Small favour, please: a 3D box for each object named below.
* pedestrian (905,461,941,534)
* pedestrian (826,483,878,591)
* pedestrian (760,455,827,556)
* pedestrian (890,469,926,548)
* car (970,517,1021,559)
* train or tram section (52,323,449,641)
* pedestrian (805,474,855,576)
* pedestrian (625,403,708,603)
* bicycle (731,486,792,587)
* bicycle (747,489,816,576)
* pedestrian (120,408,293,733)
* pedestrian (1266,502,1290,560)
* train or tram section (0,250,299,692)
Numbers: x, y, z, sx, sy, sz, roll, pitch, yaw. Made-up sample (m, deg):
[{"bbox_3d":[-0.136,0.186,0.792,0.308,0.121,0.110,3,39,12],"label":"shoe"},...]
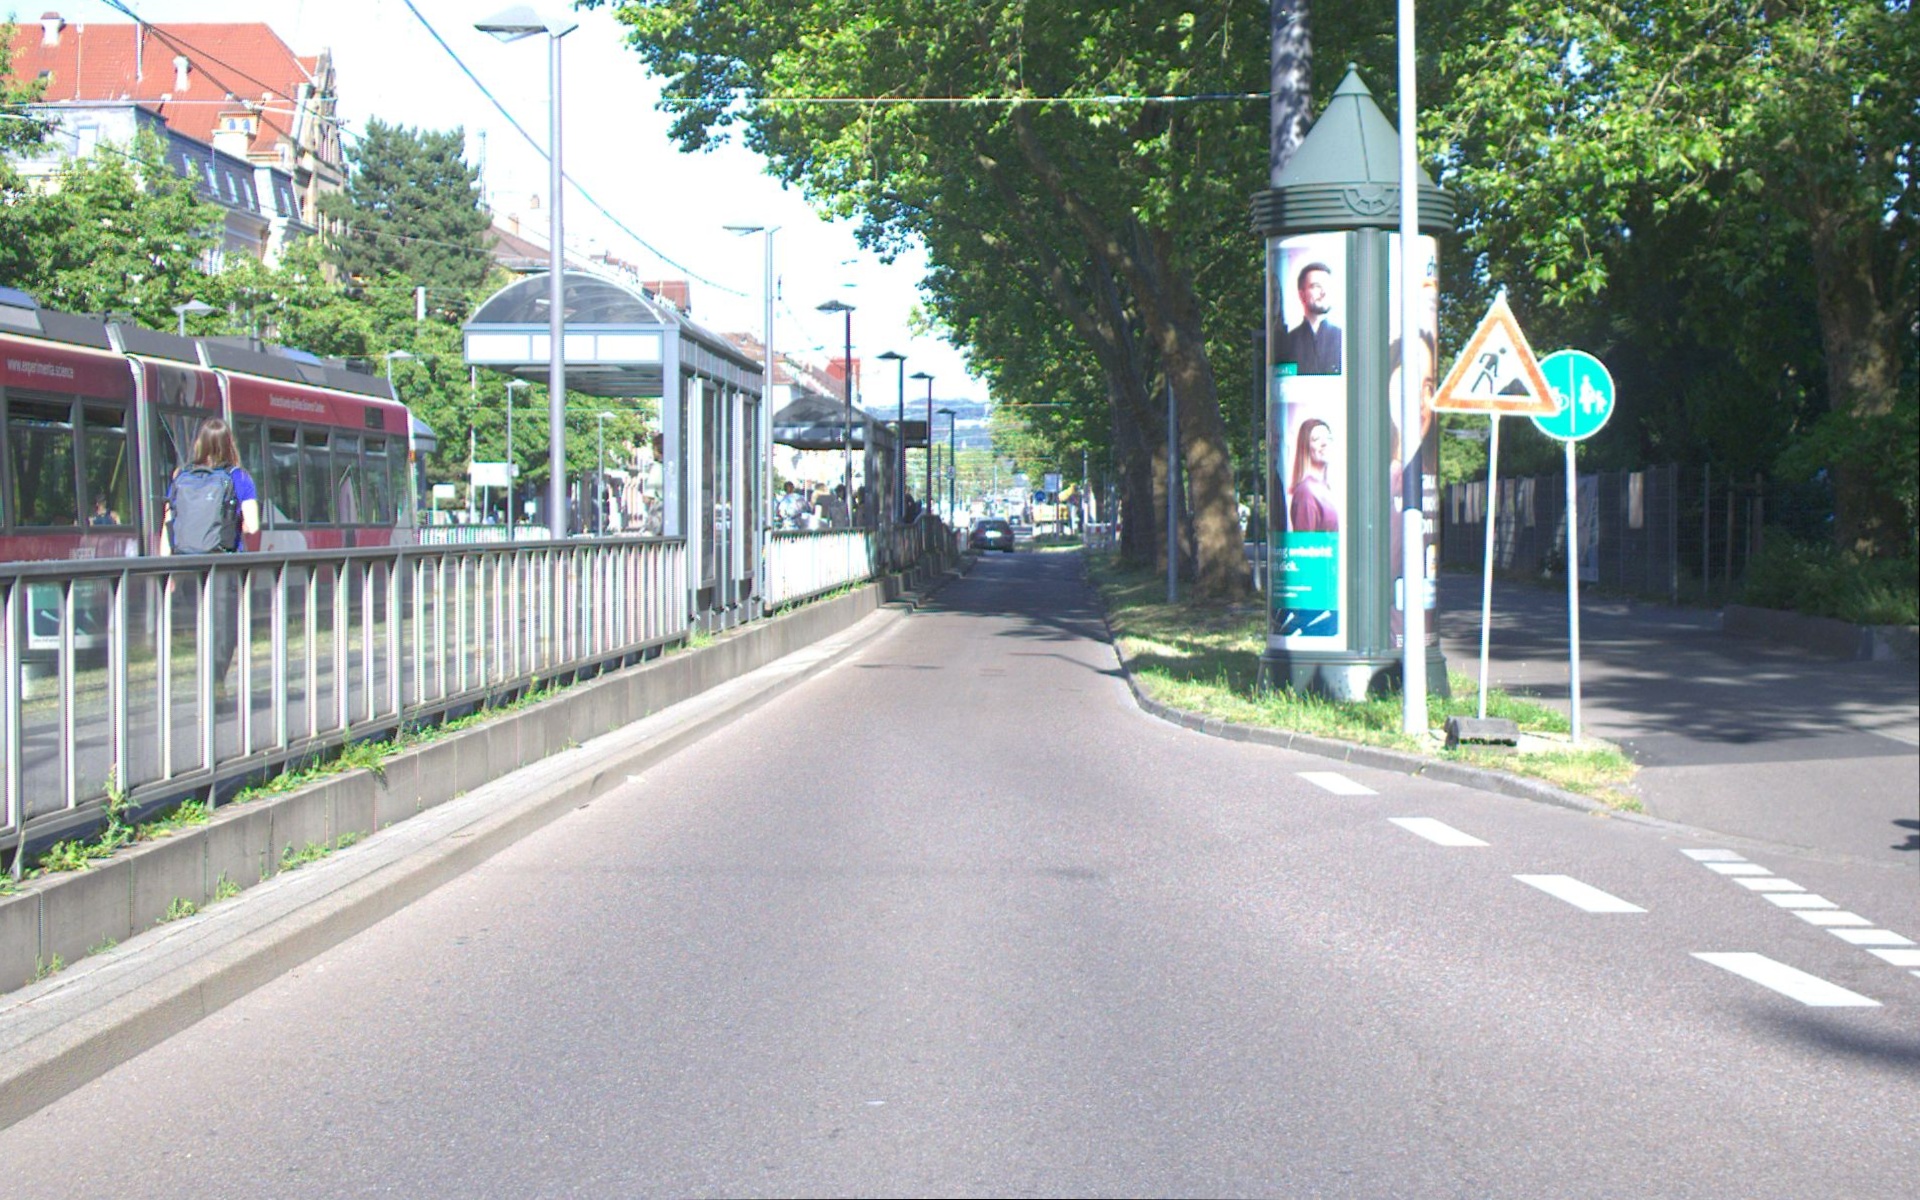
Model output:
[{"bbox_3d":[-0.875,-2.418,81.348,0.757,1.684,0.678,2,1,2],"label":"pedestrian"},{"bbox_3d":[-1.782,-1.039,56.891,0.765,1.752,0.695,2,1,1],"label":"pedestrian"},{"bbox_3d":[-2.879,-1.631,59.493,0.907,1.716,0.631,1,2,-32],"label":"pedestrian"},{"bbox_3d":[-1.127,-1.976,74.206,0.679,1.684,0.894,2,1,2],"label":"pedestrian"},{"bbox_3d":[1.507,-2.602,143.793,1.993,1.678,4.000,2,2,2],"label":"car"},{"bbox_3d":[-8.925,-1.488,44.609,2.870,3.673,9.684,0,1,2],"label":"train or tram section"},{"bbox_3d":[-2.016,-1.164,53.513,0.678,1.556,0.851,2,1,1],"label":"pedestrian"},{"bbox_3d":[-2.852,-0.943,33.467,0.669,1.896,0.824,2,1,1],"label":"pedestrian"},{"bbox_3d":[-2.315,-0.750,40.258,0.513,1.129,2.104,2,2,1],"label":"bicycle"},{"bbox_3d":[-2.386,-0.915,46.236,0.737,1.129,2.031,2,2,1],"label":"bicycle"},{"bbox_3d":[-3.874,-0.160,17.724,0.629,1.604,0.982,2,1,0],"label":"pedestrian"},{"bbox_3d":[9.163,-1.997,99.005,0.627,1.651,0.740,-1,1,2],"label":"pedestrian"},{"bbox_3d":[-9.302,-1.175,32.483,2.870,3.673,14.561,0,1,2],"label":"train or tram section"}]
